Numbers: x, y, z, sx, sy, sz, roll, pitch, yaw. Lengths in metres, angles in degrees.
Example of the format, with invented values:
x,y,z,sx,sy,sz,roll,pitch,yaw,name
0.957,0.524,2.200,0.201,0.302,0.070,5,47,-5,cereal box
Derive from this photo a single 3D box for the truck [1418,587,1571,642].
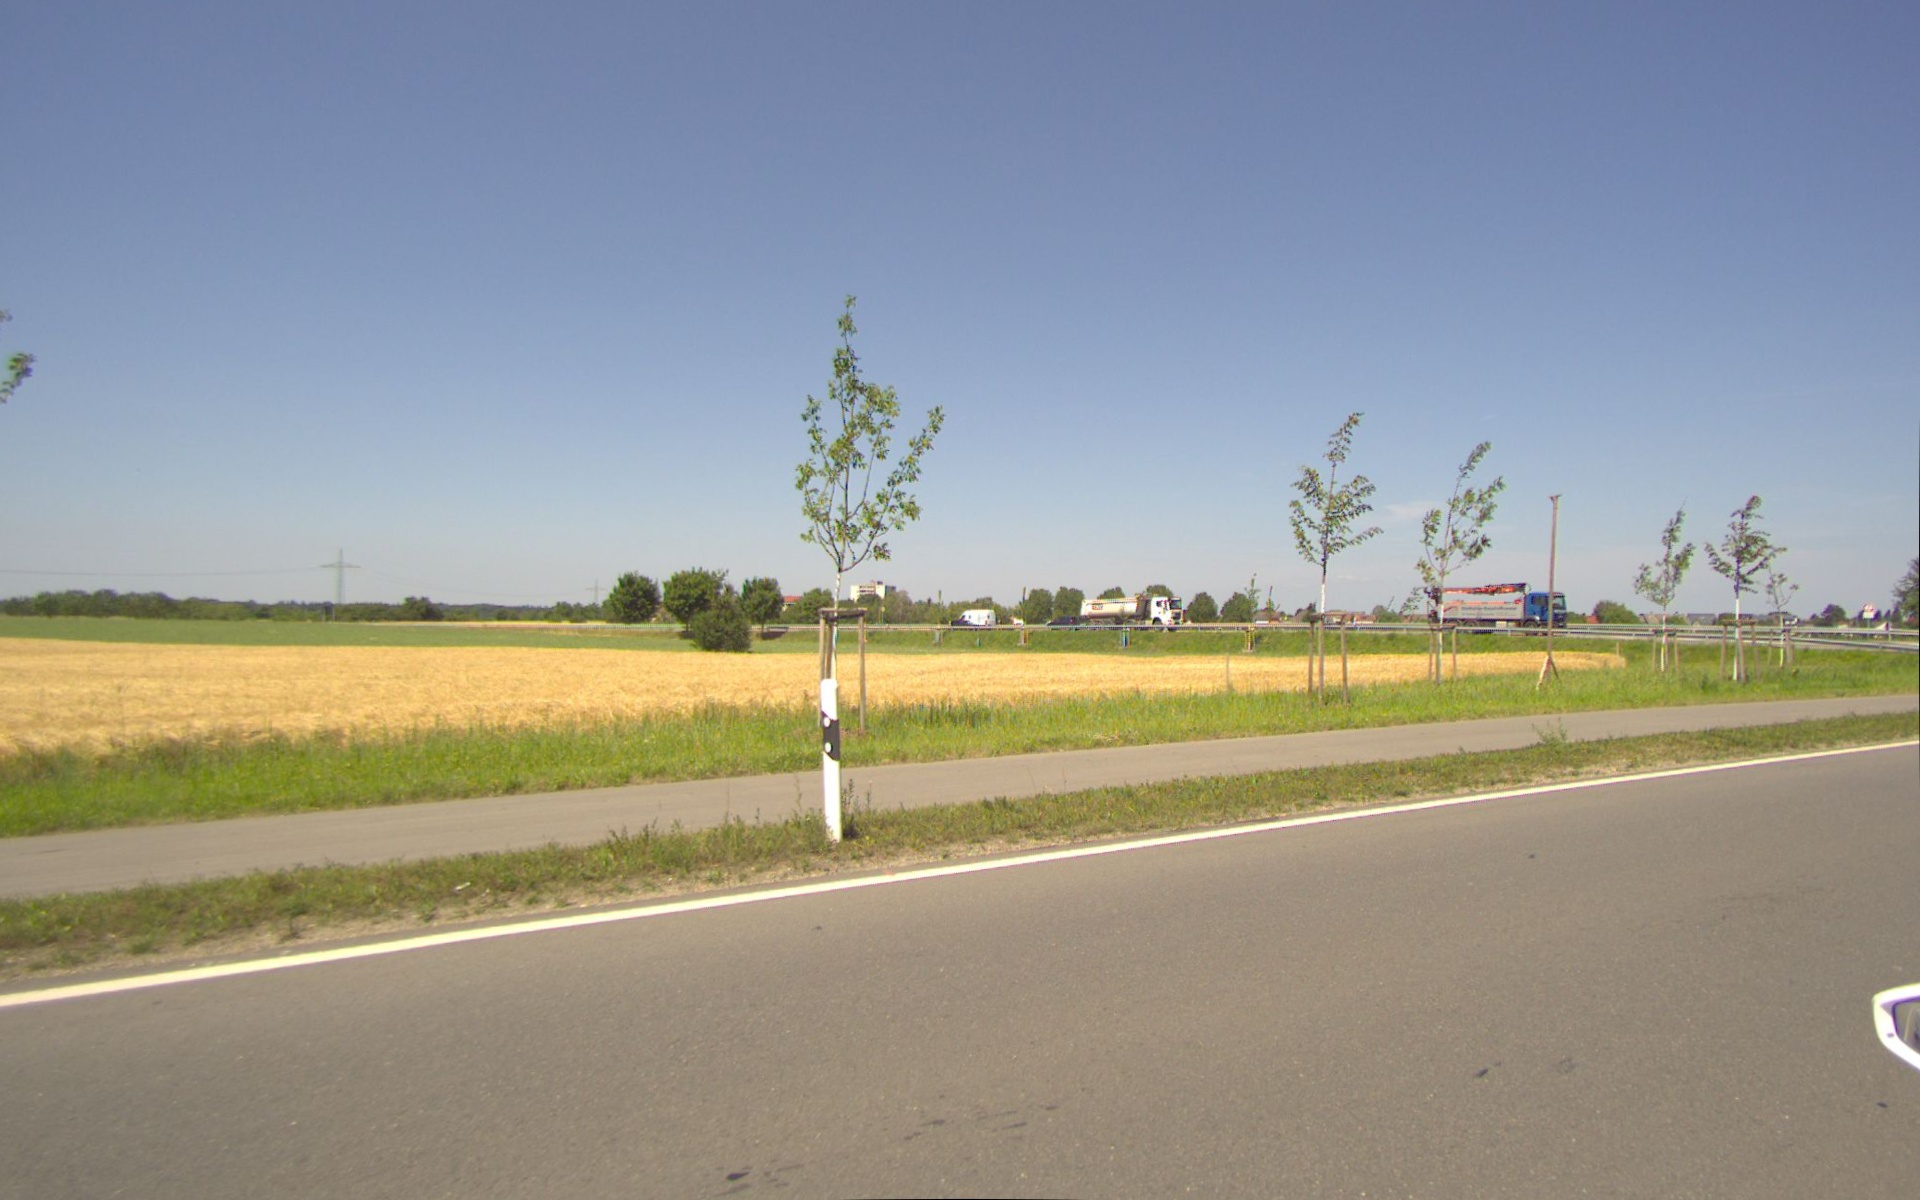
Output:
x,y,z,sx,sy,sz,roll,pitch,yaw,name
39.537,0.993,74.758,2.599,3.844,10.017,1,0,-34,truck

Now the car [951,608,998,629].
x,y,z,sx,sy,sz,roll,pitch,yaw,name
1.764,2.343,126.661,5.850,2.454,2.236,1,0,41,car

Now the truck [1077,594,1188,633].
x,y,z,sx,sy,sz,roll,pitch,yaw,name
17.090,1.276,100.569,2.958,3.663,11.891,1,0,-39,truck

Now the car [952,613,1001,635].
x,y,z,sx,sy,sz,roll,pitch,yaw,name
1.959,2.828,119.017,2.535,2.454,5.867,1,0,-40,car
